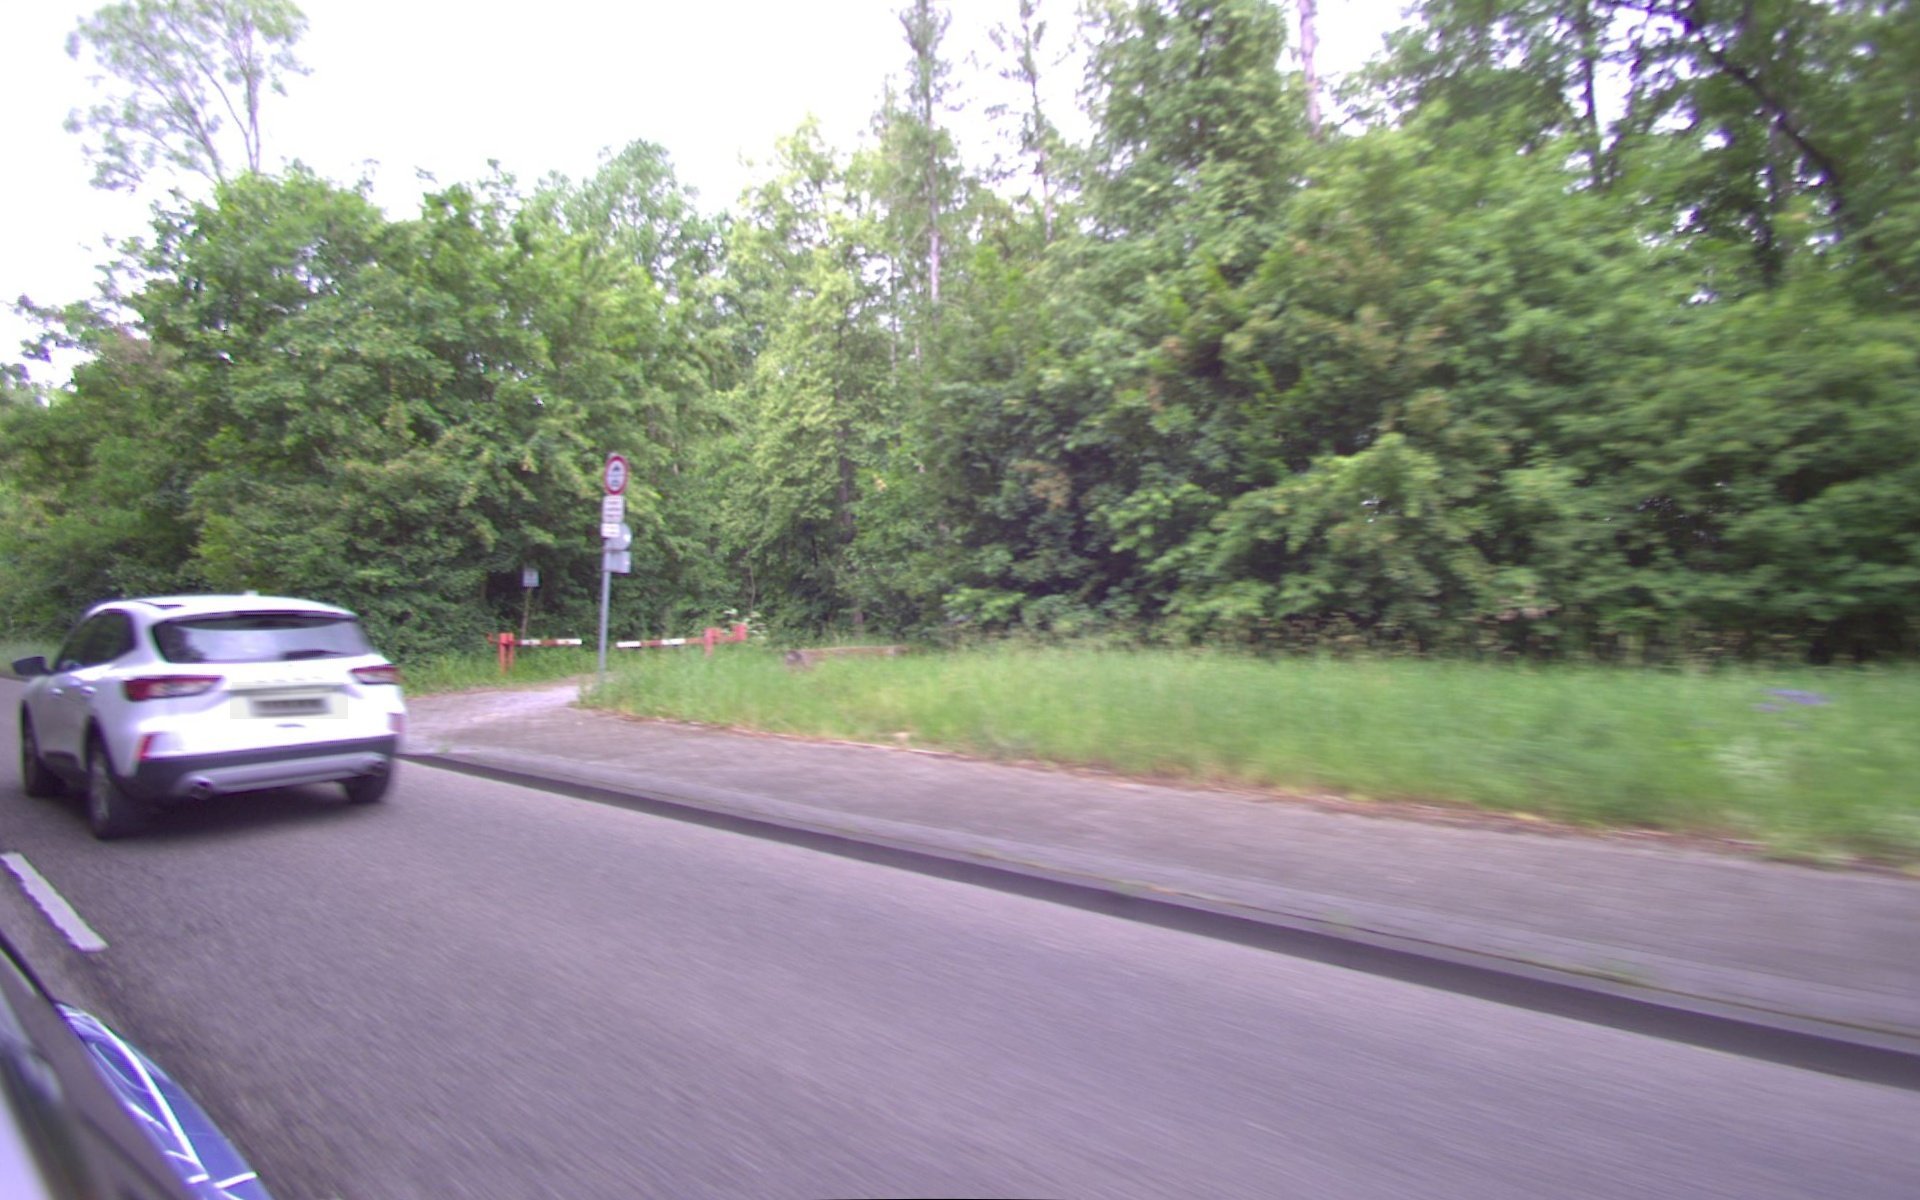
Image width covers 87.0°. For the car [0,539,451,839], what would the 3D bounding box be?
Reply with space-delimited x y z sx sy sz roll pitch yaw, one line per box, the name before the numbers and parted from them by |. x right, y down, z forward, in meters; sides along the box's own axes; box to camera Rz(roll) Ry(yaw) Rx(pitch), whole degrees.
car | -6.224 0.533 8.258 4.778 1.766 1.974 0 0 40
